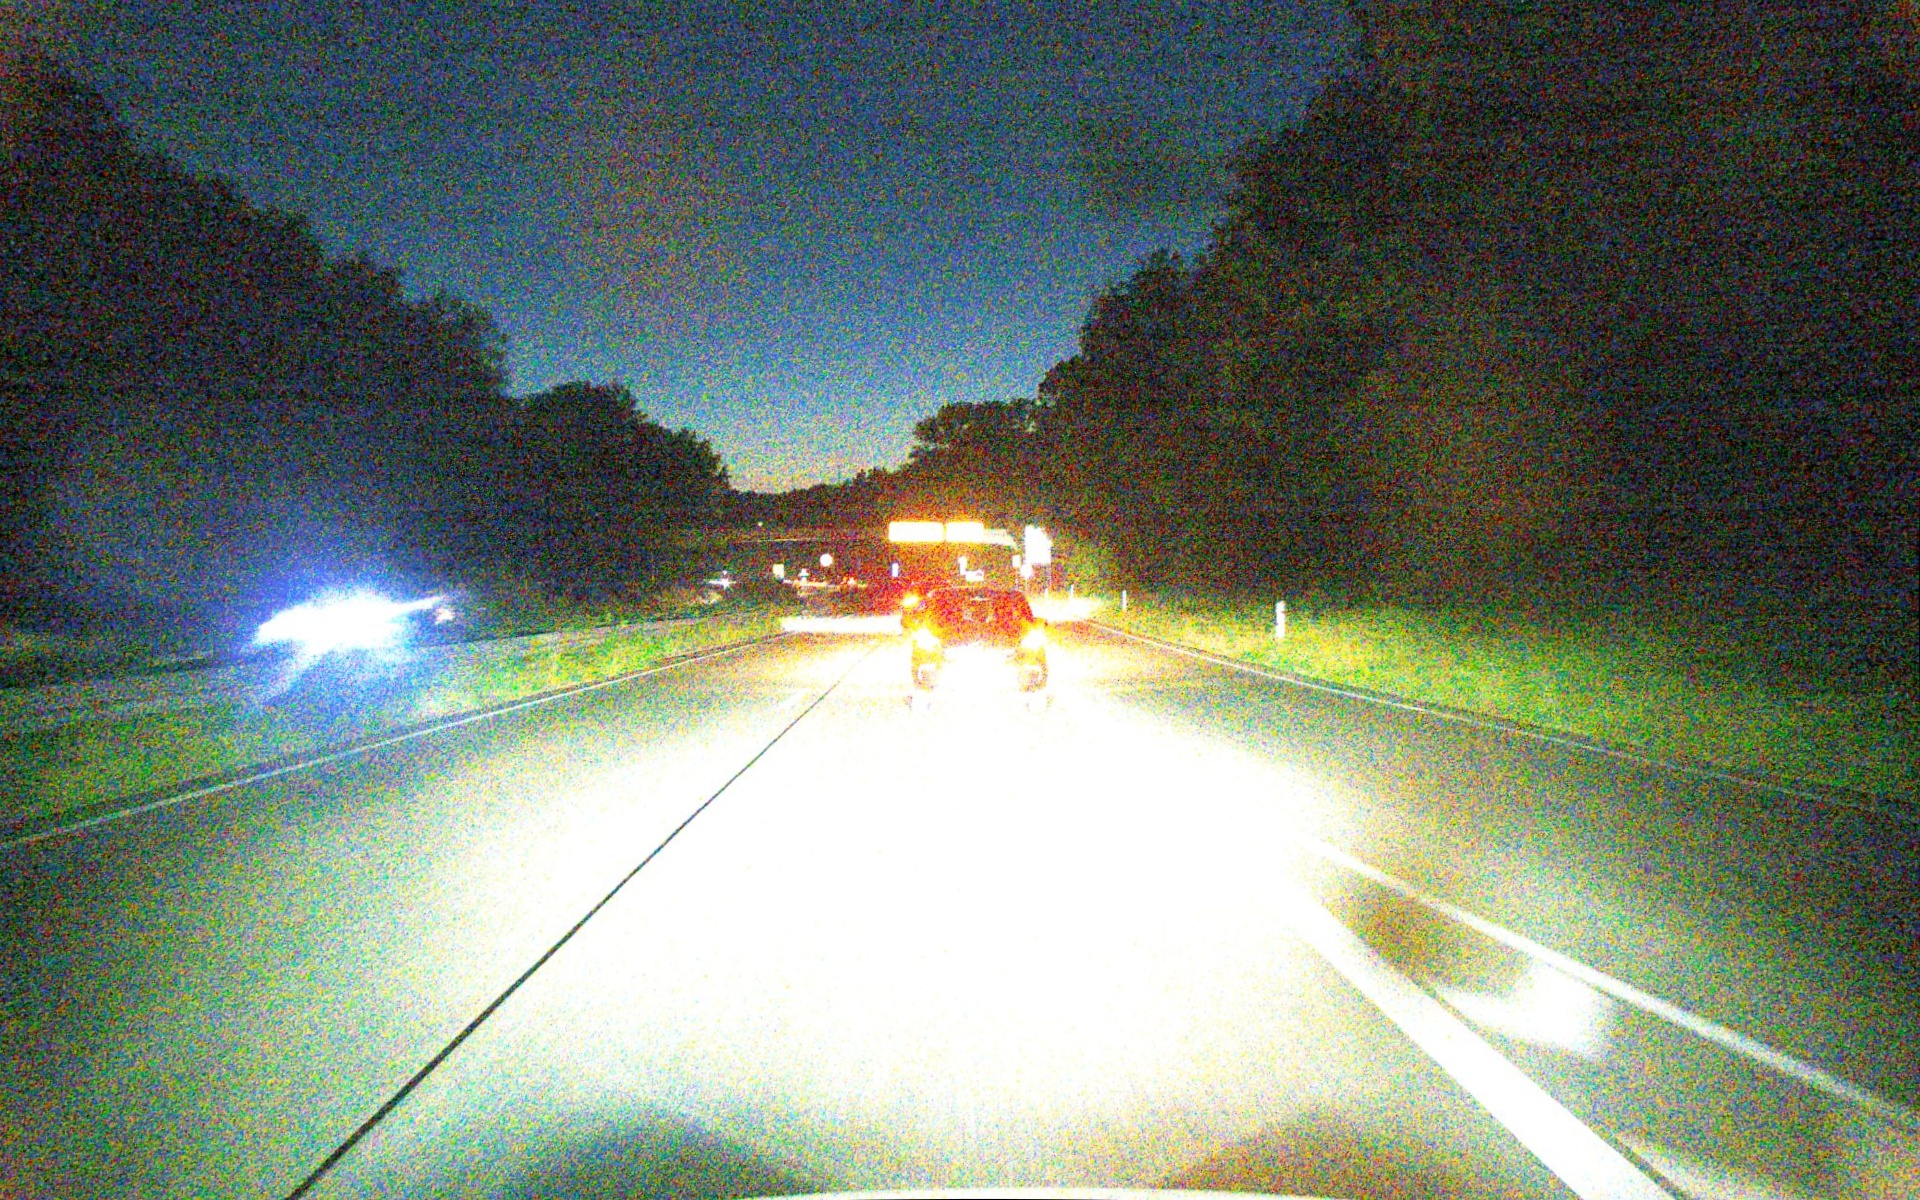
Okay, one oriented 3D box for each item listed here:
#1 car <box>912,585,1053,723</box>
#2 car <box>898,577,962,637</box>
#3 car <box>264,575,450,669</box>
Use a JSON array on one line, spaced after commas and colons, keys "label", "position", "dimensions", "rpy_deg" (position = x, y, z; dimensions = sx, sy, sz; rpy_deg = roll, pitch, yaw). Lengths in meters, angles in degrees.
[{"label": "car", "position": [0.200, 0.589, 20.578], "dimensions": [1.556, 1.534, 3.998], "rpy_deg": [0, 1, -2]}, {"label": "car", "position": [-0.920, 0.172, 50.426], "dimensions": [1.868, 1.727, 4.000], "rpy_deg": [0, 1, -1]}, {"label": "car", "position": [-12.398, 0.393, 34.386], "dimensions": [1.917, 1.764, 5.080], "rpy_deg": [-1, 1, 1]}]
